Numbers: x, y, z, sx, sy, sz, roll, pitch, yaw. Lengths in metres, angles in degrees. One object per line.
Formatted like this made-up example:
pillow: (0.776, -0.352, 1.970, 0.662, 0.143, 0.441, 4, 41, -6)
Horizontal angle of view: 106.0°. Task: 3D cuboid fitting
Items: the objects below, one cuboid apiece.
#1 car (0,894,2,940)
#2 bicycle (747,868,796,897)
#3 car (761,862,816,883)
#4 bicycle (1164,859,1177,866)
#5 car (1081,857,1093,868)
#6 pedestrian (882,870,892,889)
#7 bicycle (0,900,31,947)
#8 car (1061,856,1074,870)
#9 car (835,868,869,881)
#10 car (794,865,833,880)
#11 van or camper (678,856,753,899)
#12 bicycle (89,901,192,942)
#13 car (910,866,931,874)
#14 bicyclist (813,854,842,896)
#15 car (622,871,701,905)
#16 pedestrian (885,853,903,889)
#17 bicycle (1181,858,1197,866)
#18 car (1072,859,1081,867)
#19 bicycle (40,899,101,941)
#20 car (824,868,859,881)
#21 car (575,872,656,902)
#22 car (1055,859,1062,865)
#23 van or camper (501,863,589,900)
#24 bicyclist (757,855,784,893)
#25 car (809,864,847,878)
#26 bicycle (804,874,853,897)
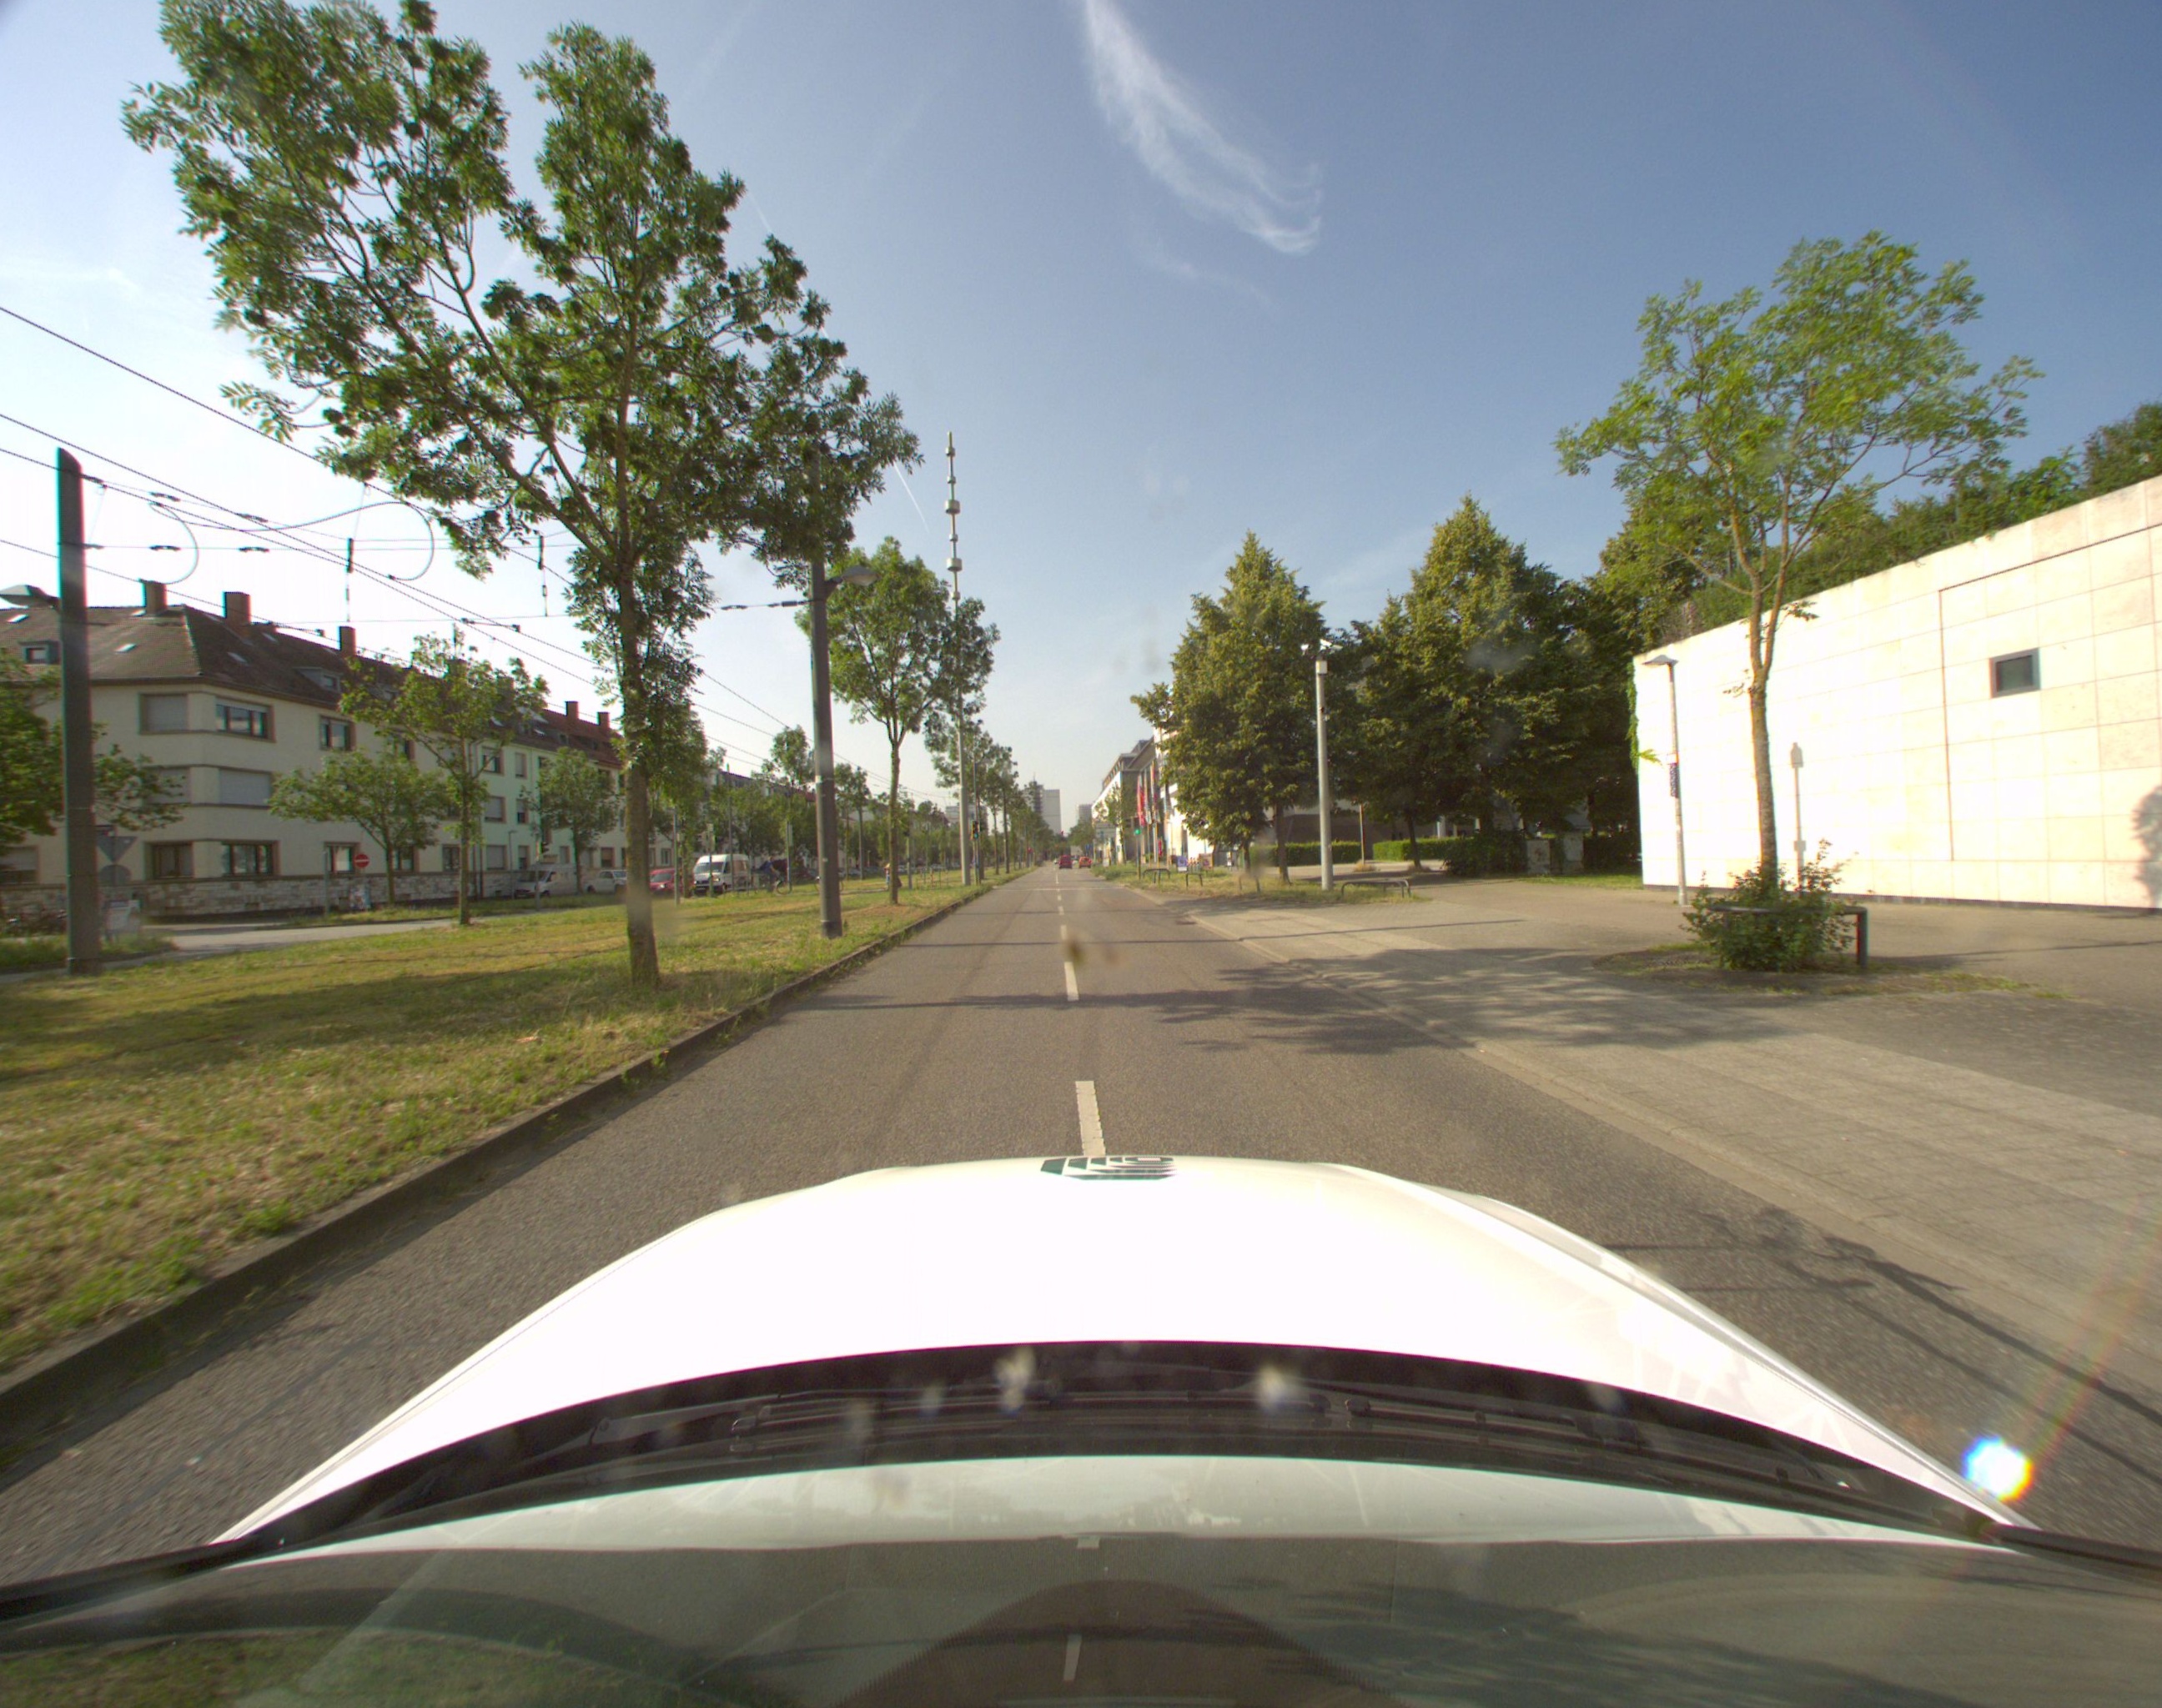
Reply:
car: (-42.208, 2.443, 29.599, 2.022, 1.767, 4.290, 0, -1, -30)
bicycle: (-14.431, 1.329, 38.014, 2.072, 1.324, 0.779, 0, -1, -19)
car: (-29.130, 1.801, 81.072, 5.171, 2.014, 1.887, 0, -1, 23)
bicycle: (11.109, 1.008, 101.071, 1.618, 0.888, 0.550, 0, -1, -4)
car: (0.854, 1.259, 125.069, 1.743, 1.650, 3.214, 0, -1, -1)
pedestrian: (-8.794, 1.166, 37.000, 0.340, 0.875, 0.461, 0, -1, -1)
bicycle: (-36.988, 2.381, 28.027, 3.179, 1.461, 0.936, -1, -1, 39)
car: (-1.957, 1.275, 116.700, 1.743, 2.014, 3.214, 0, -1, -1)
car: (-29.156, 2.597, 103.741, 3.951, 1.596, 1.664, 0, -1, 23)
car: (-28.426, 1.949, 86.670, 3.951, 1.530, 1.472, 0, -1, 23)
van or camper: (-22.735, 1.418, 50.998, 2.198, 2.531, 6.024, 0, -1, -3)
bicycle: (-36.166, 2.585, 31.337, 2.663, 1.461, 1.104, 0, -1, 1)
car: (-33.491, 3.297, 169.838, 3.951, 1.596, 1.664, 0, -1, 23)
bicyclist: (-11.947, 0.978, 38.372, 1.143, 1.934, 0.686, 0, -1, -1)
car: (-22.666, 1.800, 44.218, 1.957, 1.694, 4.298, 0, -1, 2)
pedestrian: (-8.382, 0.755, 36.543, 0.623, 1.572, 0.710, 0, -1, -1)
bicycle: (11.411, 0.844, 86.292, 1.618, 0.888, 0.550, 0, -1, -4)
car: (-1.008, 2.021, 179.378, 1.743, 1.650, 3.214, 0, -1, -1)
bicycle: (-36.527, 2.367, 29.433, 3.019, 1.360, 0.986, -1, -1, 32)
car: (-28.684, 2.465, 97.382, 3.951, 1.530, 1.472, 0, -1, 23)
car: (-28.265, 1.960, 49.404, 5.258, 1.738, 2.012, -1, -1, 31)
car: (-6.325, 2.169, 230.409, 1.743, 1.650, 3.214, 0, -1, -1)
van or camper: (-35.457, 1.755, 54.113, 1.987, 2.328, 5.826, 0, -1, 0)
bicyclist: (-14.483, 0.939, 37.996, 1.150, 1.762, 0.682, 0, -1, -19)
car: (-27.797, 1.860, 89.419, 3.951, 1.530, 1.472, 0, -1, 23)
bicycle: (-11.881, 1.465, 38.345, 2.060, 1.042, 0.668, 0, -1, -1)
